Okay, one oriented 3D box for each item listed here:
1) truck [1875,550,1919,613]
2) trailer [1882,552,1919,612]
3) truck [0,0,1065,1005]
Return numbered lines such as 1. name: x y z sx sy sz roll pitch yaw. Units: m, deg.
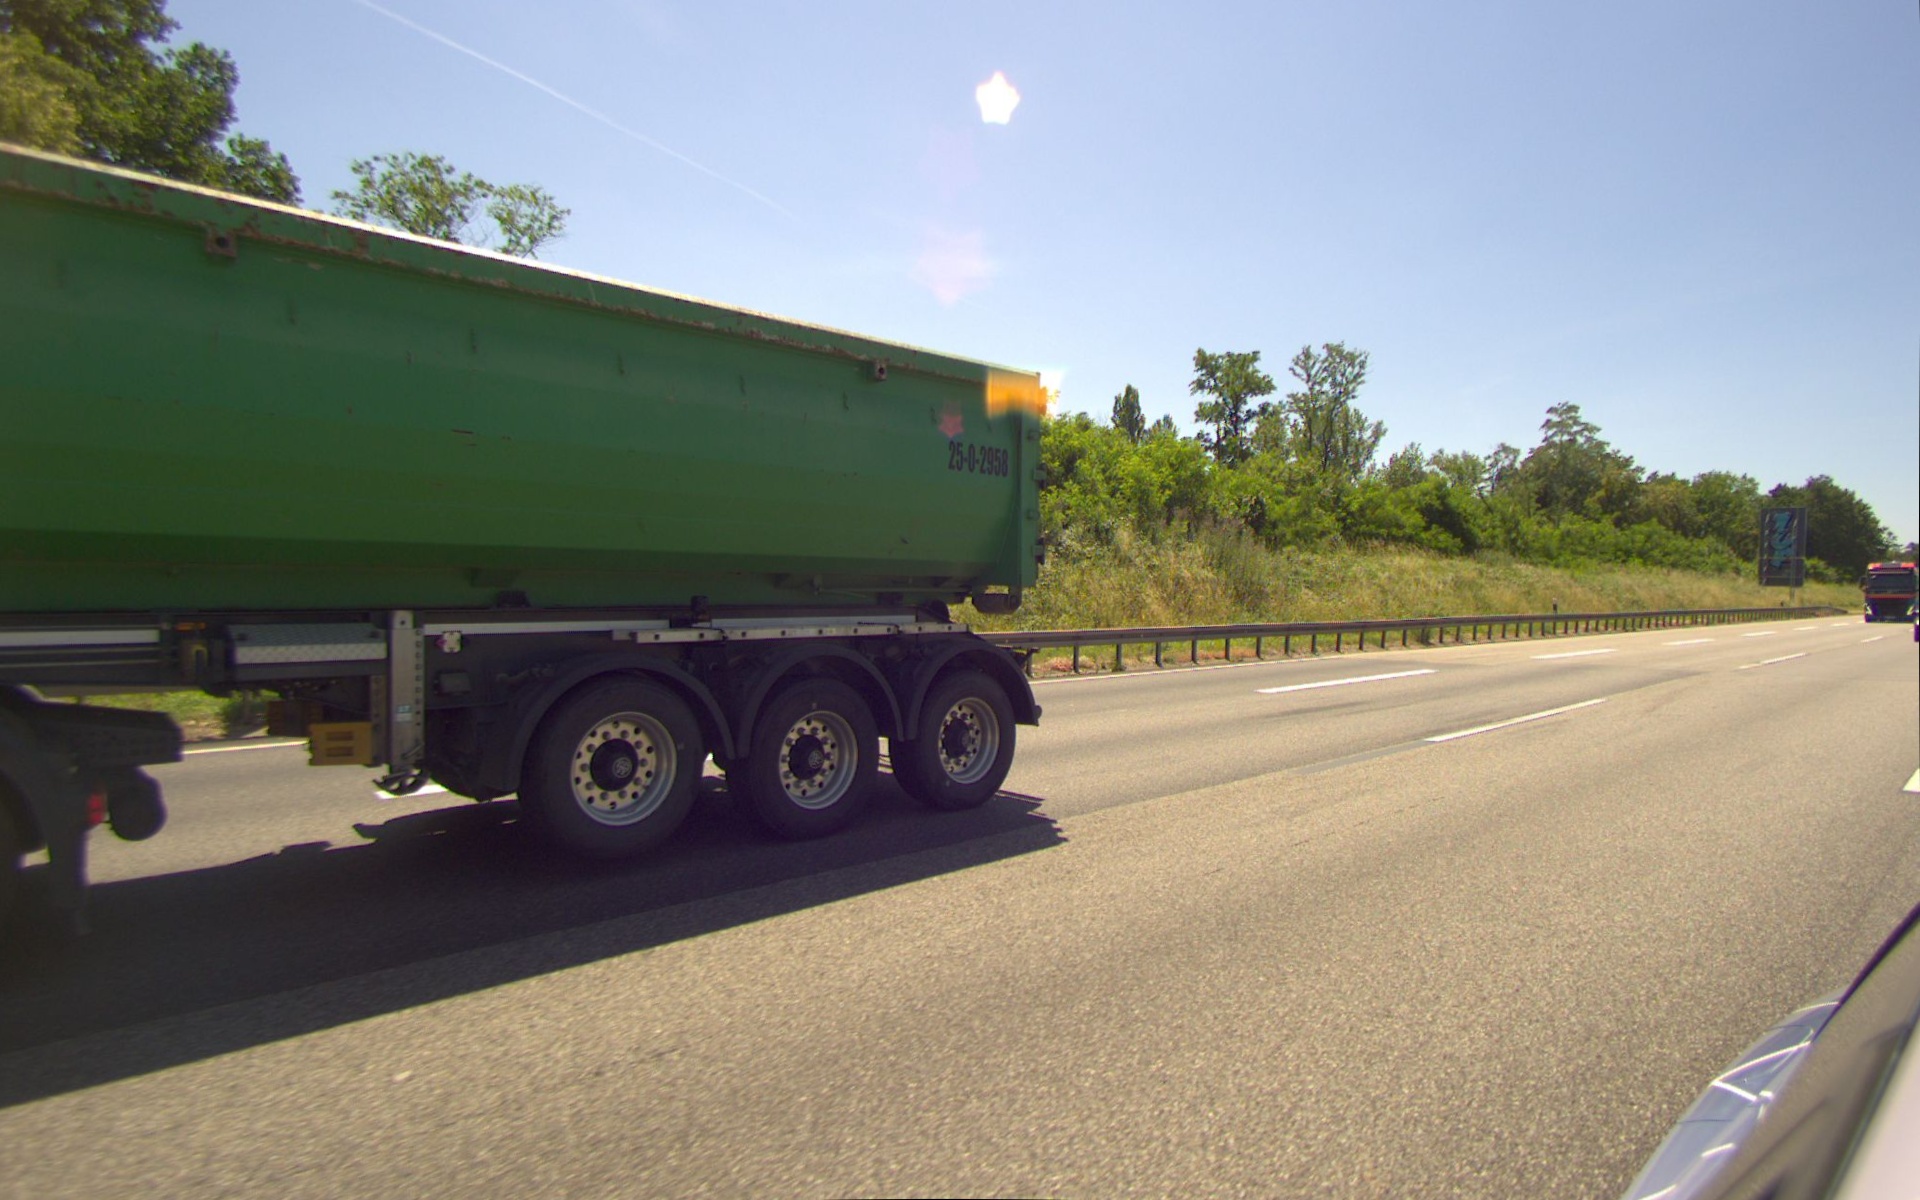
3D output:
1. truck: 59.340 -1.121 63.283 5.994 3.781 2.532 -1 0 -42
2. trailer: 63.718 -1.183 67.282 11.351 3.781 2.532 -1 0 -42
3. truck: -4.676 -0.488 4.242 12.264 3.846 2.684 -1 0 -42
